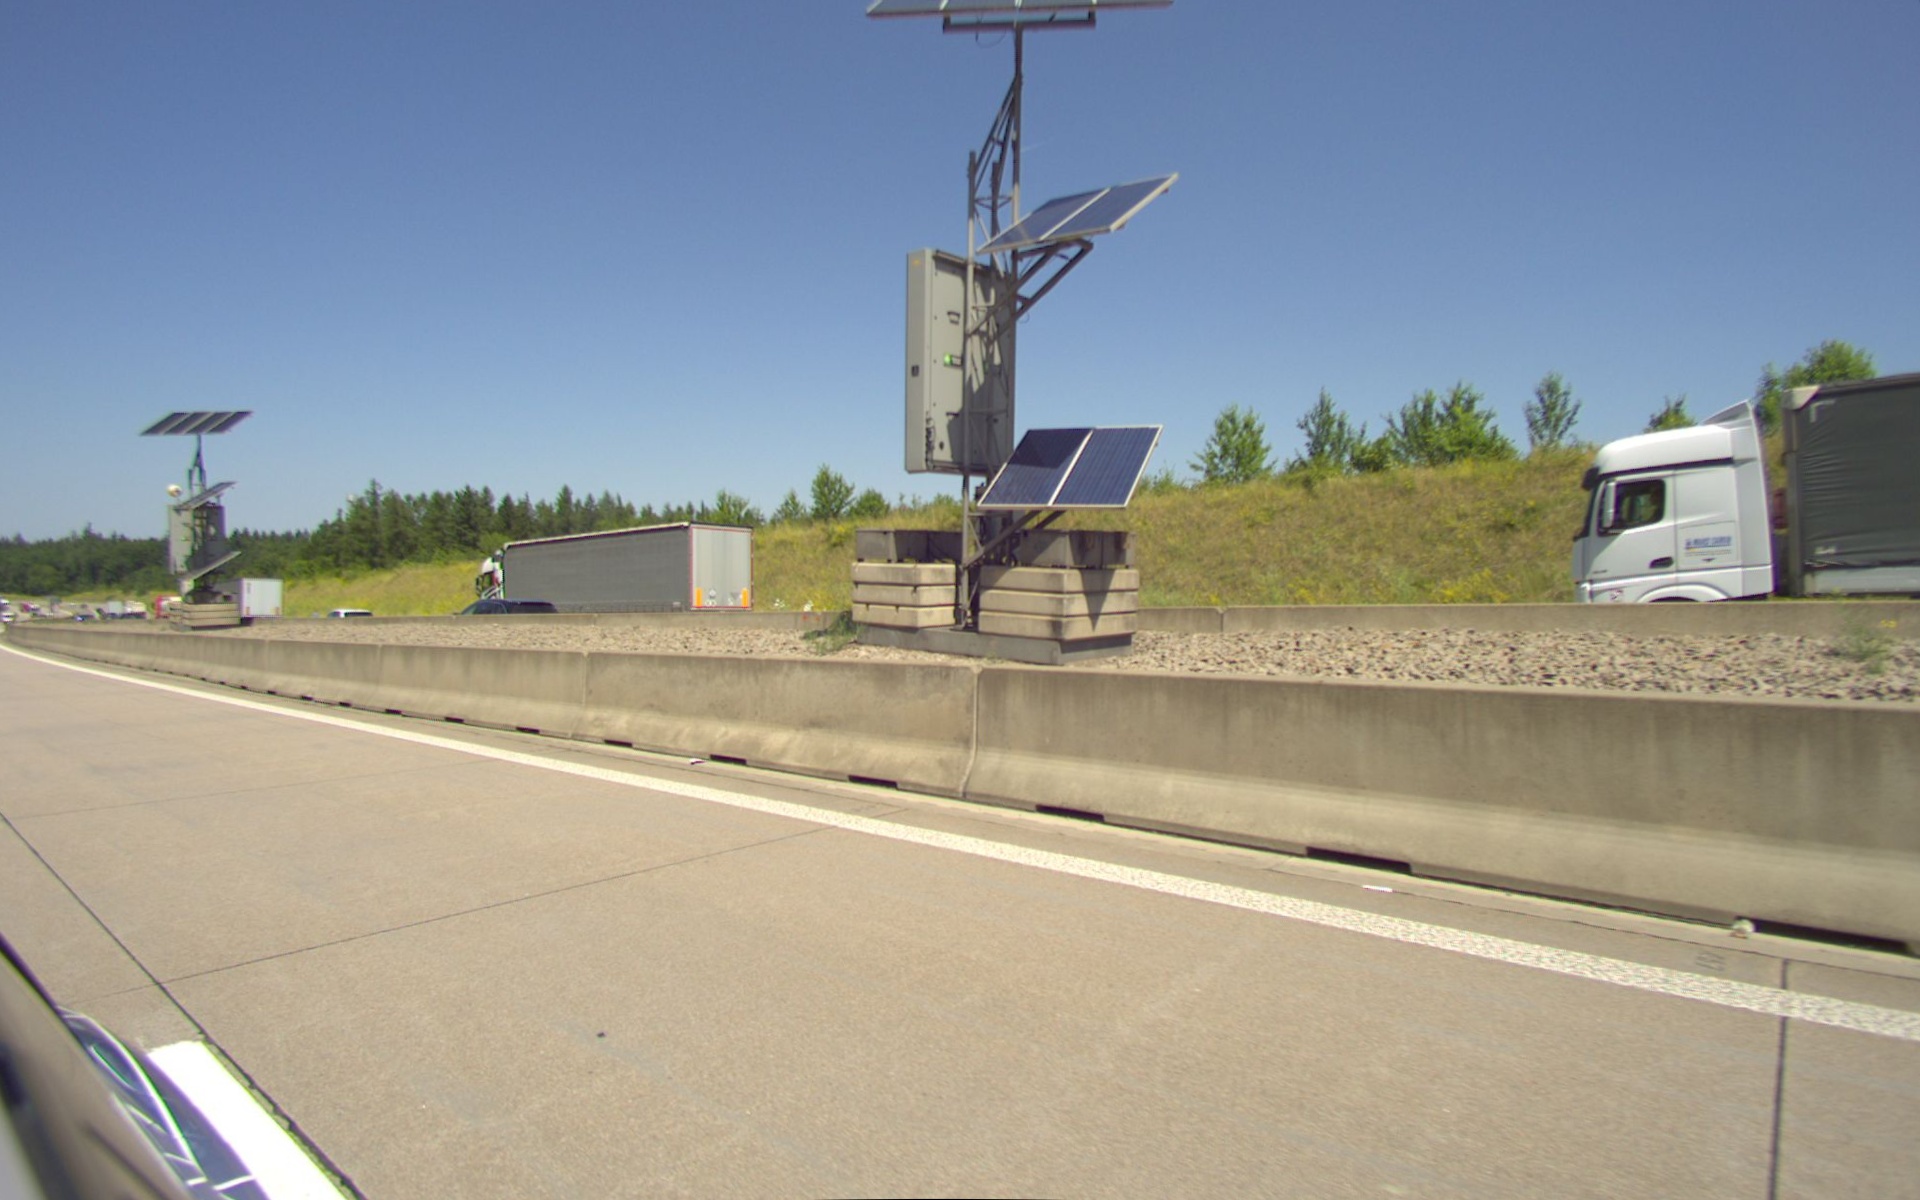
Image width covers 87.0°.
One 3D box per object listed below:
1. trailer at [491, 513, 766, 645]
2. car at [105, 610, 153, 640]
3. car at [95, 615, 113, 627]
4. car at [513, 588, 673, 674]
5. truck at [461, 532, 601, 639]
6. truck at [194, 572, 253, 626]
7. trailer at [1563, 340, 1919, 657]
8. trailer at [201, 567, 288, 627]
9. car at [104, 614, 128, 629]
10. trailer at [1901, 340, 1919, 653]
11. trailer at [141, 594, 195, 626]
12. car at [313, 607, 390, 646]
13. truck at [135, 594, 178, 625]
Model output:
[{"bbox_3d":[-12.958,-0.649,38.063,14.384,4.199,2.903,-1,2,42],"label":"trailer"},{"bbox_3d":[-55.743,1.633,67.862,3.999,1.929,1.972,-1,-1,42],"label":"car"},{"bbox_3d":[-129.746,3.162,153.432,1.799,1.810,4.002,-1,0,-45],"label":"car"},{"bbox_3d":[-8.922,0.714,24.457,3.999,1.896,1.972,-1,-1,42],"label":"car"},{"bbox_3d":[-18.186,-0.586,42.782,6.227,4.199,2.903,-1,2,42],"label":"truck"},{"bbox_3d":[-60.680,-0.103,83.335,5.763,4.199,2.900,-1,2,45],"label":"truck"},{"bbox_3d":[13.183,-1.401,14.984,6.886,4.199,2.904,-1,2,40],"label":"trailer"},{"bbox_3d":[-55.203,-0.166,77.835,14.395,4.199,2.900,-1,2,45],"label":"trailer"},{"bbox_3d":[-105.521,2.693,126.525,4.001,1.730,1.971,-1,-1,44],"label":"car"},{"bbox_3d":[18.688,-1.489,10.263,13.180,4.199,2.904,-1,2,40],"label":"trailer"},{"bbox_3d":[-87.196,1.054,111.269,11.834,3.238,2.901,-1,2,44],"label":"trailer"},{"bbox_3d":[-27.988,1.201,46.501,3.999,1.696,1.972,-1,-1,42],"label":"car"},{"bbox_3d":[-91.969,1.088,115.819,5.906,3.238,2.901,-1,2,44],"label":"truck"}]
